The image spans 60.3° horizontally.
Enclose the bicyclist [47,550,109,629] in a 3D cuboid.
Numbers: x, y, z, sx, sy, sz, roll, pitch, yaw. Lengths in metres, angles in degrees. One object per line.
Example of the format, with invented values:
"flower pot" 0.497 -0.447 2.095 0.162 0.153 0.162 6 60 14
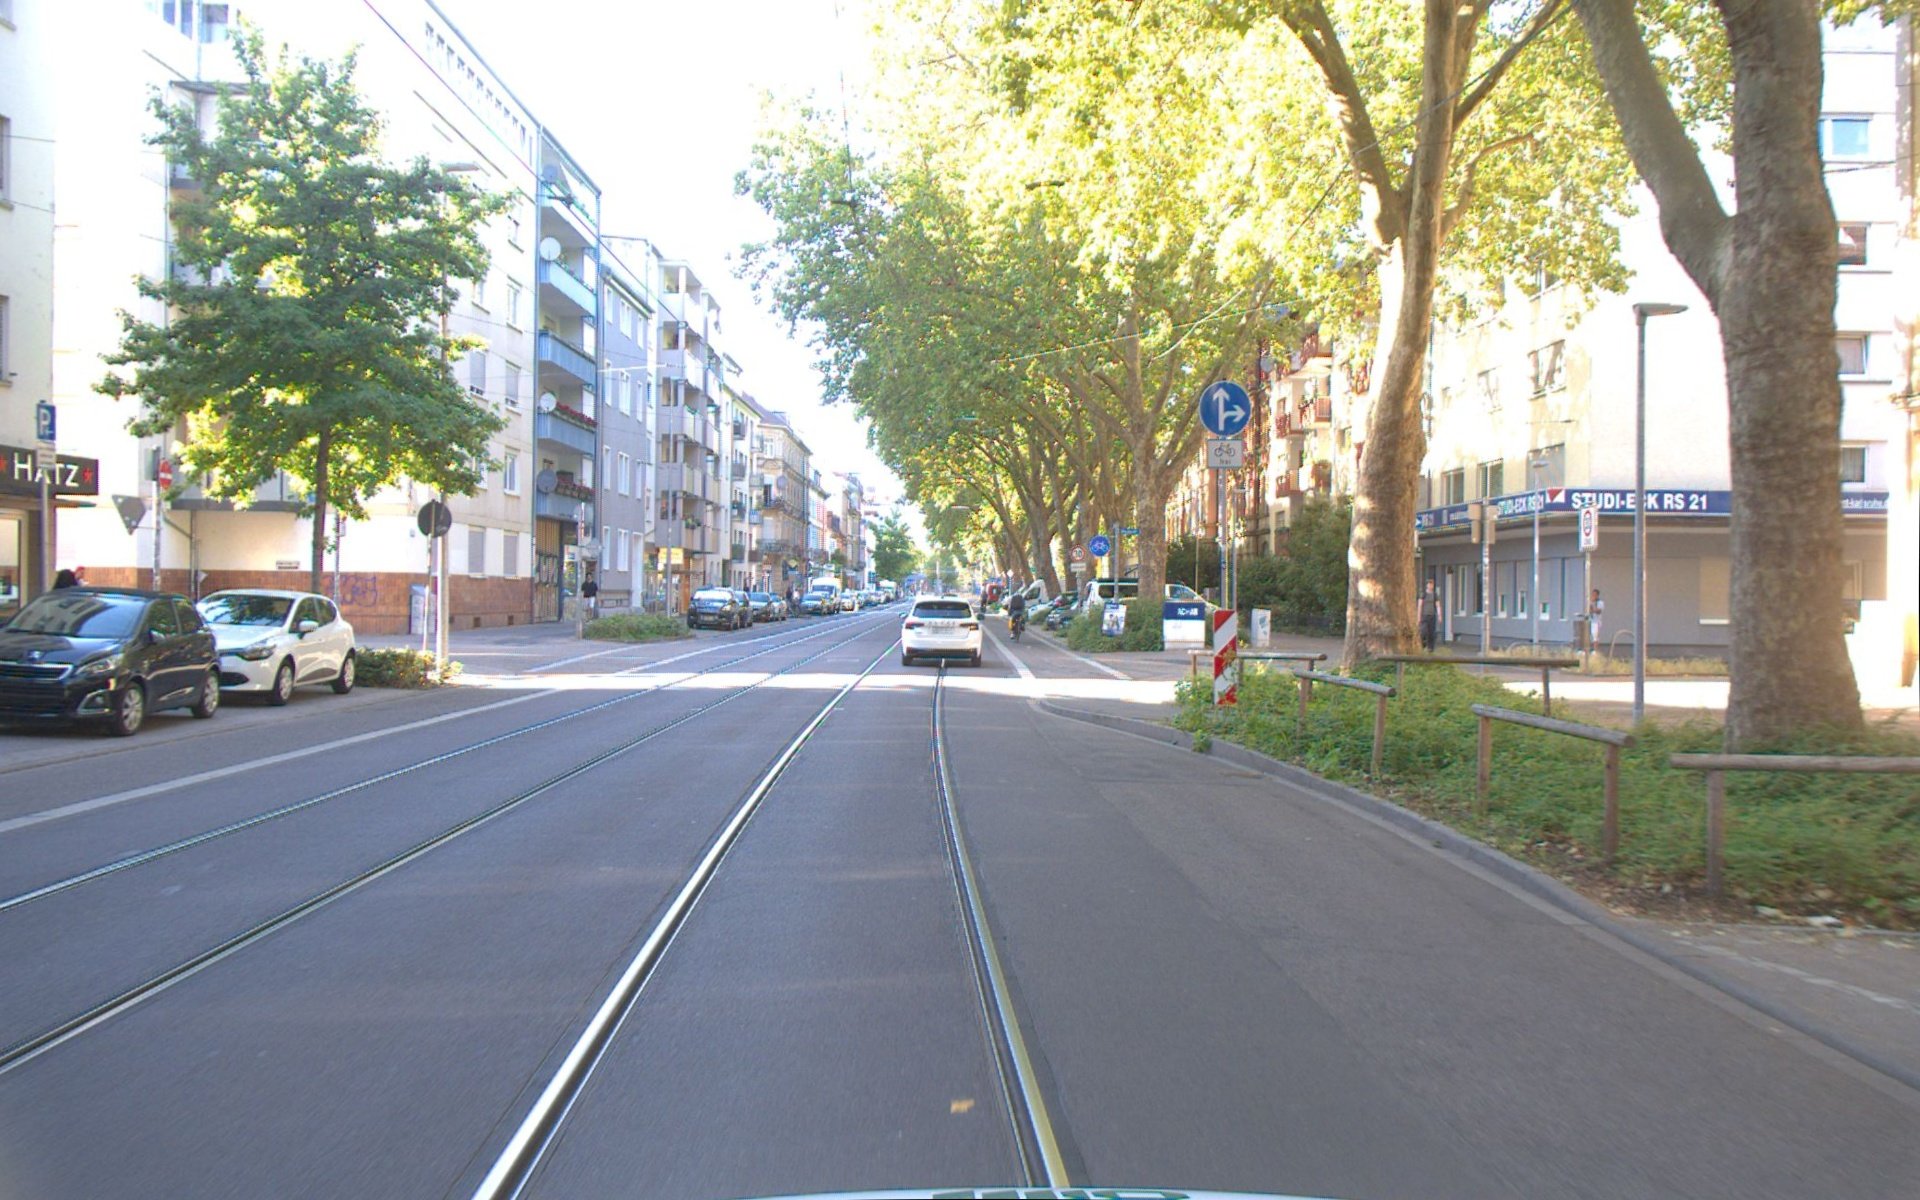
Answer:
"bicyclist" -19.796 -0.237 37.147 0.853 1.734 0.908 1 0 2

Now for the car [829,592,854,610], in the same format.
"car" -10.300 0.051 144.119 1.953 1.557 4.000 0 0 0

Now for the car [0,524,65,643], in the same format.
"car" -24.945 -0.416 39.675 5.691 2.771 2.170 0 0 -2

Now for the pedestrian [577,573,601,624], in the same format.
"pedestrian" -13.650 -0.047 60.876 0.650 1.858 0.965 1 0 -2

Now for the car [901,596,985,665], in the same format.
"car" -0.401 0.616 35.761 1.726 1.408 3.999 0 0 -2

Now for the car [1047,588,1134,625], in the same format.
"car" 6.087 0.293 77.486 3.906 1.709 1.723 0 0 -2

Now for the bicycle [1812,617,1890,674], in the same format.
"bicycle" 16.689 0.850 30.961 1.814 1.025 0.562 2 -1 -36

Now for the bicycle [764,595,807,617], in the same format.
"bicycle" -10.544 0.345 100.033 2.509 1.193 0.870 4 -2 -41

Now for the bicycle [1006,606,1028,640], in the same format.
"bicycle" 1.849 0.744 53.799 0.667 1.089 1.781 0 0 0

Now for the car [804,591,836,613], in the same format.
"car" -9.979 0.150 117.851 1.953 1.557 4.000 0 0 0

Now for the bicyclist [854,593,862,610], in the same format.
"bicyclist" -7.838 0.128 127.452 0.585 1.308 0.916 0 0 -3

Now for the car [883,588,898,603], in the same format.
"car" -9.540 -0.592 227.708 1.953 2.049 4.000 0 0 0

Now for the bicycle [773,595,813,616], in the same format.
"bicycle" -10.547 0.336 104.693 2.476 1.193 0.718 3 -2 -7

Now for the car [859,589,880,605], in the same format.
"car" -9.849 -0.337 180.123 1.953 1.668 3.999 1 0 0

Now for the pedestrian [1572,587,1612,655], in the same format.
"pedestrian" 15.617 0.515 40.893 0.731 1.673 0.666 1 0 1

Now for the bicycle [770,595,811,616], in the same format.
"bicycle" -10.538 0.336 102.790 2.476 1.193 0.718 2 -2 -6

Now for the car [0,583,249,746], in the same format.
"car" -9.293 0.617 18.059 1.681 1.489 3.994 4 0 -7

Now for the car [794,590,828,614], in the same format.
"car" -10.099 0.129 112.069 1.953 1.557 4.000 0 0 0

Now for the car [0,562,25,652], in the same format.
"car" -22.193 0.120 33.941 4.779 1.854 2.037 0 0 -5

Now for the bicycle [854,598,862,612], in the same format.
"bicycle" -7.834 0.393 127.346 0.593 1.089 1.582 0 0 -3

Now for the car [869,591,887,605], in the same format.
"car" -10.196 -0.236 205.947 1.953 1.668 3.999 1 0 0

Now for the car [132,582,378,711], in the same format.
"car" -9.516 0.580 22.715 1.680 1.489 4.373 4 0 -4

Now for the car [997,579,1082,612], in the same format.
"car" 5.780 -0.355 120.968 6.007 2.322 2.528 0 0 -2

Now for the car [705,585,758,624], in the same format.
"car" -9.962 0.165 72.248 1.668 1.571 4.241 3 0 0

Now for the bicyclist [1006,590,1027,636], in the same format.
"bicyclist" 1.849 0.409 53.913 0.664 1.468 1.047 0 0 0

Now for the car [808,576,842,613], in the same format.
"car" -10.106 -0.415 123.793 2.134 2.642 4.948 0 0 0

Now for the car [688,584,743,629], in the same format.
"car" -9.903 0.233 67.266 1.668 1.679 4.240 3 0 -2

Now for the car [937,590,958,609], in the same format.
"car" -1.045 -0.051 138.148 1.725 1.501 4.000 0 0 0

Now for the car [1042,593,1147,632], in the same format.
"car" 5.379 0.486 66.565 4.059 1.540 1.930 0 0 -2

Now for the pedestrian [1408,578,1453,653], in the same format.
"pedestrian" 11.991 0.386 42.143 0.751 1.899 1.187 0 0 -4

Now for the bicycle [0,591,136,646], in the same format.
"bicycle" -20.108 0.402 37.139 2.737 1.177 0.922 1 0 2

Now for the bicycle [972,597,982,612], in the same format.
"bicycle" 1.222 0.314 118.932 0.636 1.089 1.582 0 0 -2

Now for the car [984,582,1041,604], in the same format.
"car" 5.726 -0.753 181.132 6.007 2.322 2.528 0 0 -2

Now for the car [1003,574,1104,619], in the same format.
"car" 5.766 -0.230 102.349 6.007 2.681 2.528 0 0 -2

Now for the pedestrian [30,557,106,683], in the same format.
"pedestrian" -12.452 0.276 23.108 0.650 1.720 0.748 1 0 -2

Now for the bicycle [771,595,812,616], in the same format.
"bicycle" -10.546 0.332 103.639 2.476 1.193 0.718 2 -2 -6

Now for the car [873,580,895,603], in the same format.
"car" -11.294 -1.230 246.672 2.907 3.211 5.846 1 0 0

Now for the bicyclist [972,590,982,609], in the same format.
"bicyclist" 1.221 -0.030 118.848 0.636 1.367 0.934 0 0 -2

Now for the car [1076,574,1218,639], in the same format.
"car" 6.227 0.198 55.361 4.453 2.113 2.000 0 0 -3

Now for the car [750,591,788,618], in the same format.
"car" -10.121 0.224 87.921 1.454 1.428 3.991 1 0 2

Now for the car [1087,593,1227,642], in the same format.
"car" 6.253 0.536 52.783 4.210 1.505 1.830 0 0 -2

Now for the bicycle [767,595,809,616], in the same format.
"bicycle" -10.488 0.347 100.916 2.476 1.193 0.718 3 -2 -7

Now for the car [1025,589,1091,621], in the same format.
"car" 5.335 0.274 90.091 3.559 1.695 1.822 0 0 2

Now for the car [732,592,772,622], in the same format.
"car" -10.384 0.319 82.835 1.620 1.462 3.835 1 0 -2

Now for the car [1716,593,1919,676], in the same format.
"car" 18.009 0.685 33.957 4.048 1.621 1.999 1 0 -3
